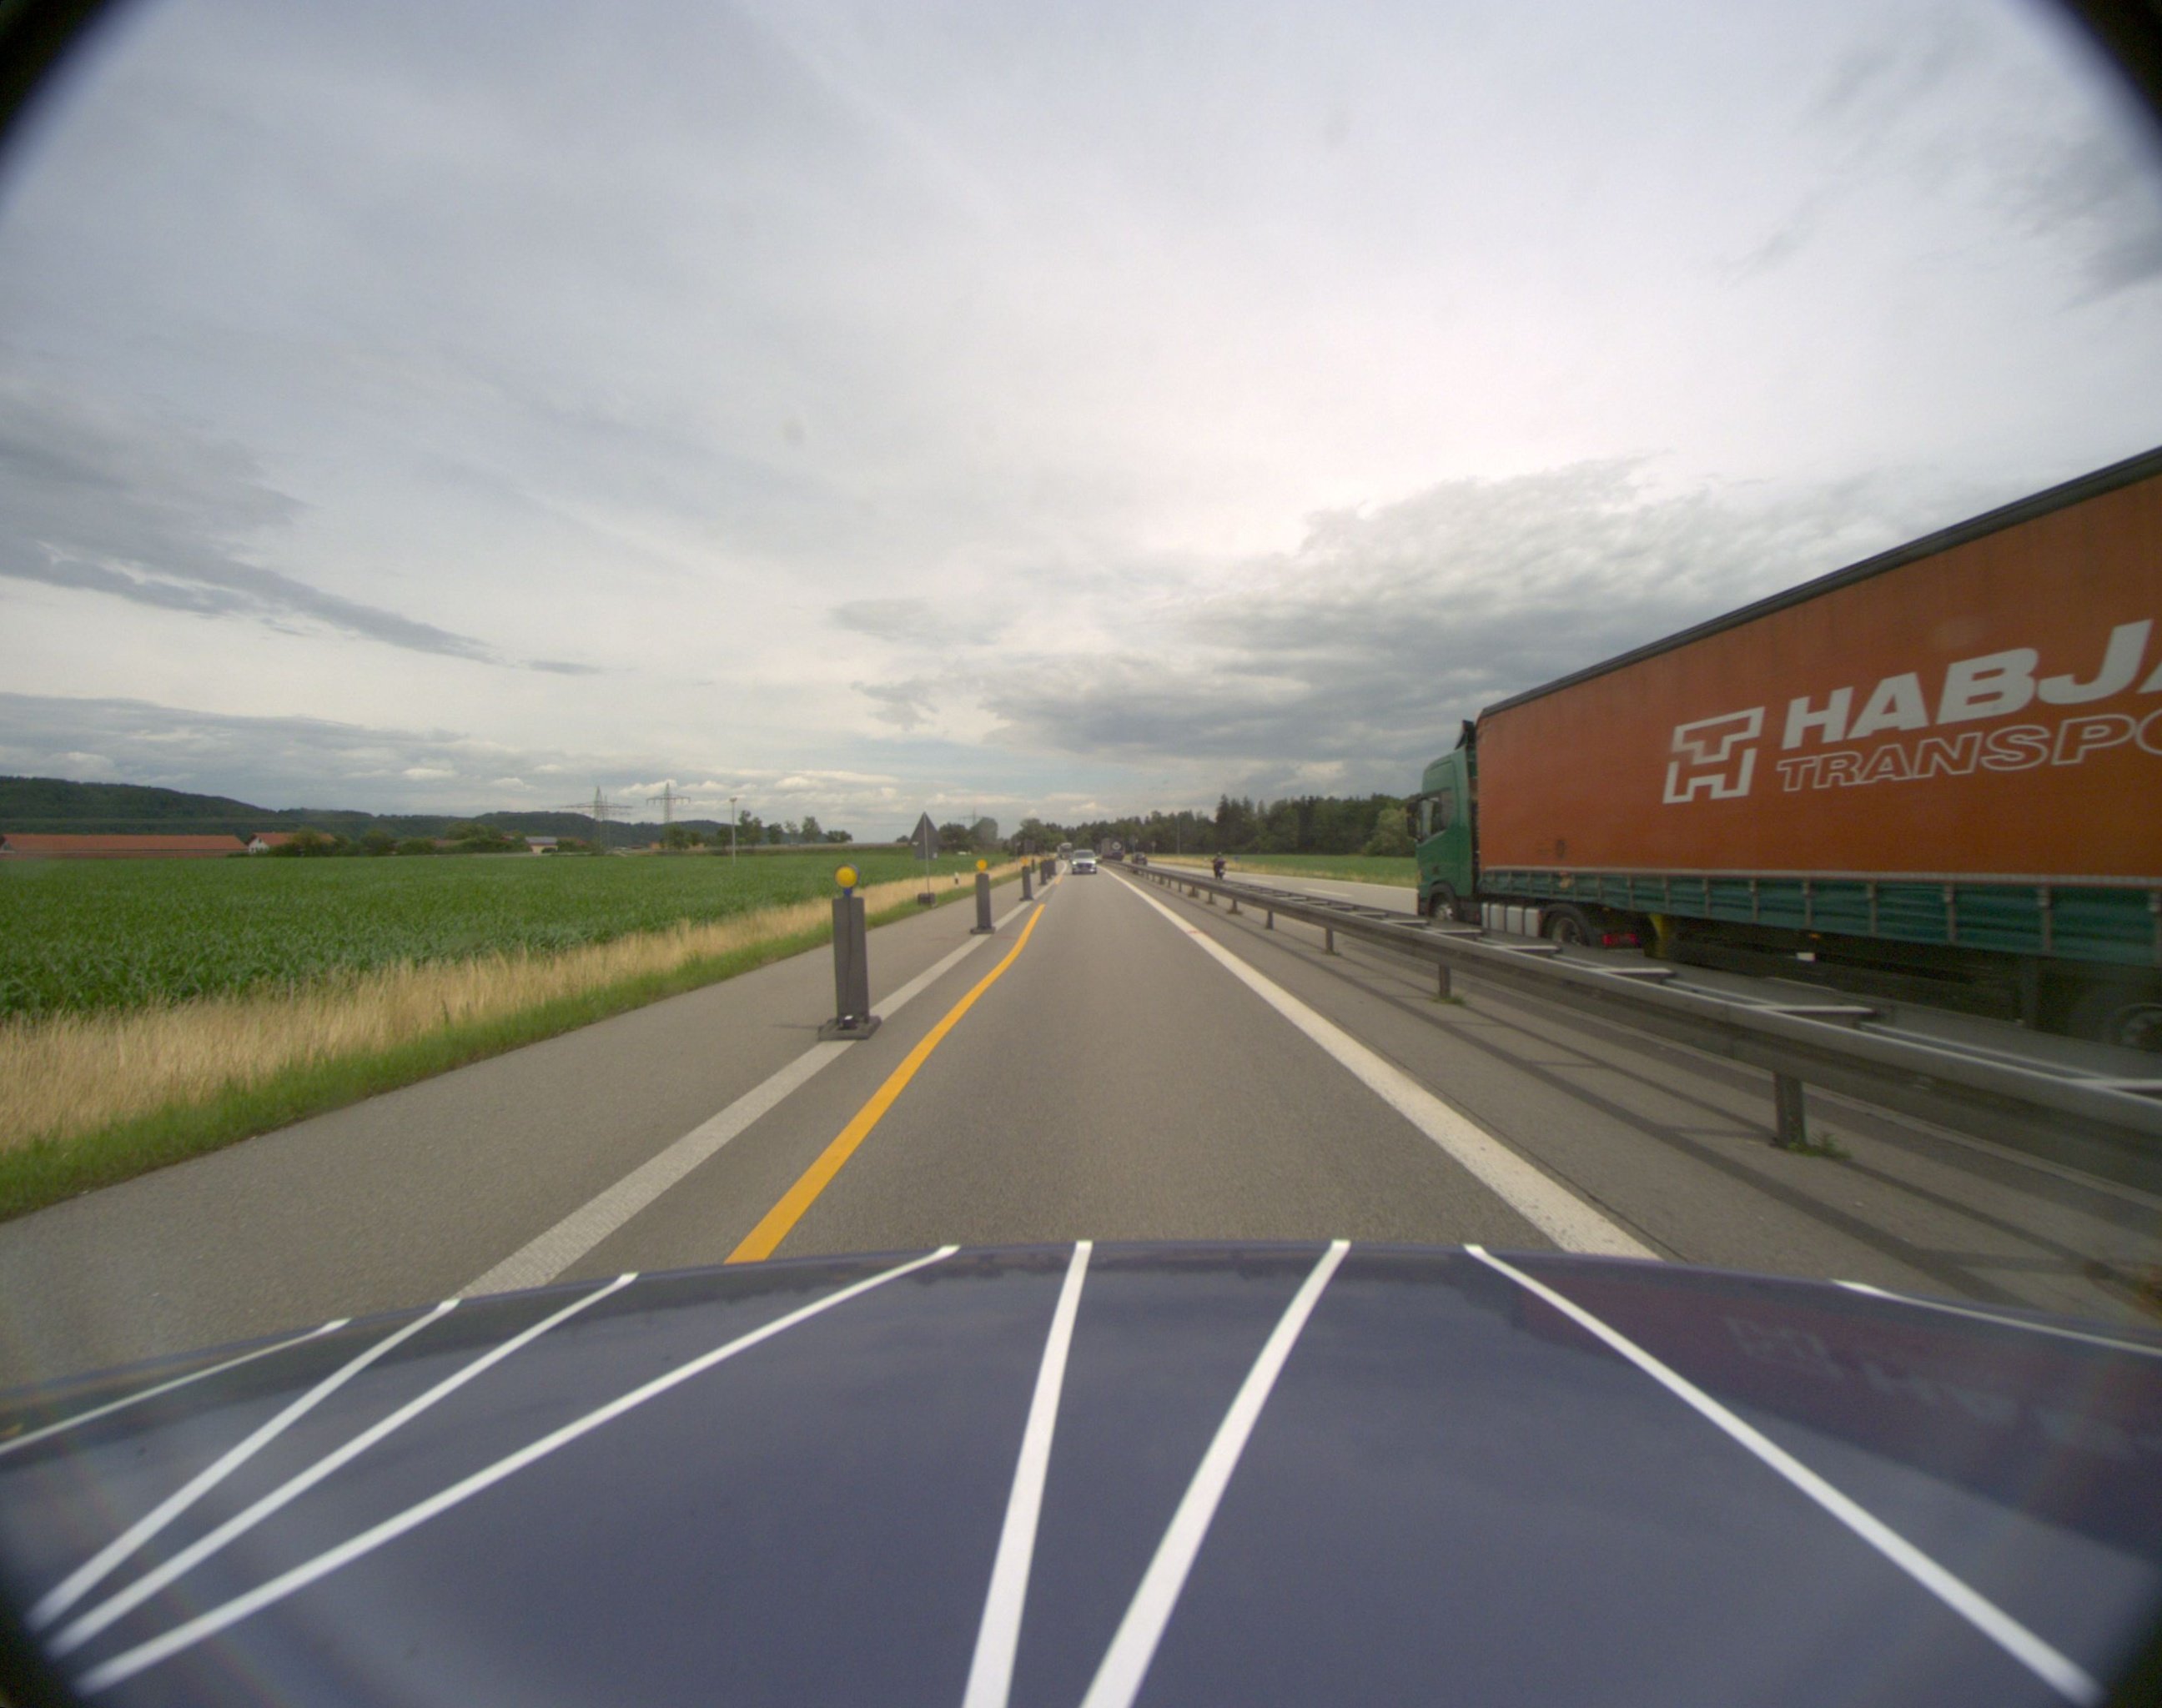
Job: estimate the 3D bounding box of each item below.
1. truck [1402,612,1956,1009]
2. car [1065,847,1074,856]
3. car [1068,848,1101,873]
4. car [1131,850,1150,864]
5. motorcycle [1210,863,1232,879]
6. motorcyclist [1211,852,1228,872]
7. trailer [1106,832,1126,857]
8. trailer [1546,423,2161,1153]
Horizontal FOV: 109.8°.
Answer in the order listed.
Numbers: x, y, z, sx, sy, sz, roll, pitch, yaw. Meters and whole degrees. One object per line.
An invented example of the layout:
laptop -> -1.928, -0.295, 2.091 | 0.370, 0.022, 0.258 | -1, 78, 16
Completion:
truck -> 7.944, -0.514, 11.638 | 3.131, 4.189, 6.779 | -2, 1, 1
car -> -2.859, -0.656, 191.528 | 1.998, 2.002, 3.999 | -2, 1, 1
car -> 0.229, 0.504, 59.671 | 1.925, 1.823, 3.996 | -2, 1, -8
car -> 7.766, 0.313, 99.432 | 1.999, 1.674, 4.232 | -2, 1, 0
motorcycle -> 8.799, 1.044, 47.970 | 0.857, 0.929, 2.724 | -2, 0, 0
motorcyclist -> 8.776, 0.527, 48.022 | 0.863, 1.202, 0.960 | -2, 1, 0
trailer -> 6.237, -1.751, 137.366 | 2.806, 4.149, 13.560 | -2, 1, 0
trailer -> 7.790, -0.416, 4.506 | 3.158, 4.189, 11.641 | -2, 1, 2
